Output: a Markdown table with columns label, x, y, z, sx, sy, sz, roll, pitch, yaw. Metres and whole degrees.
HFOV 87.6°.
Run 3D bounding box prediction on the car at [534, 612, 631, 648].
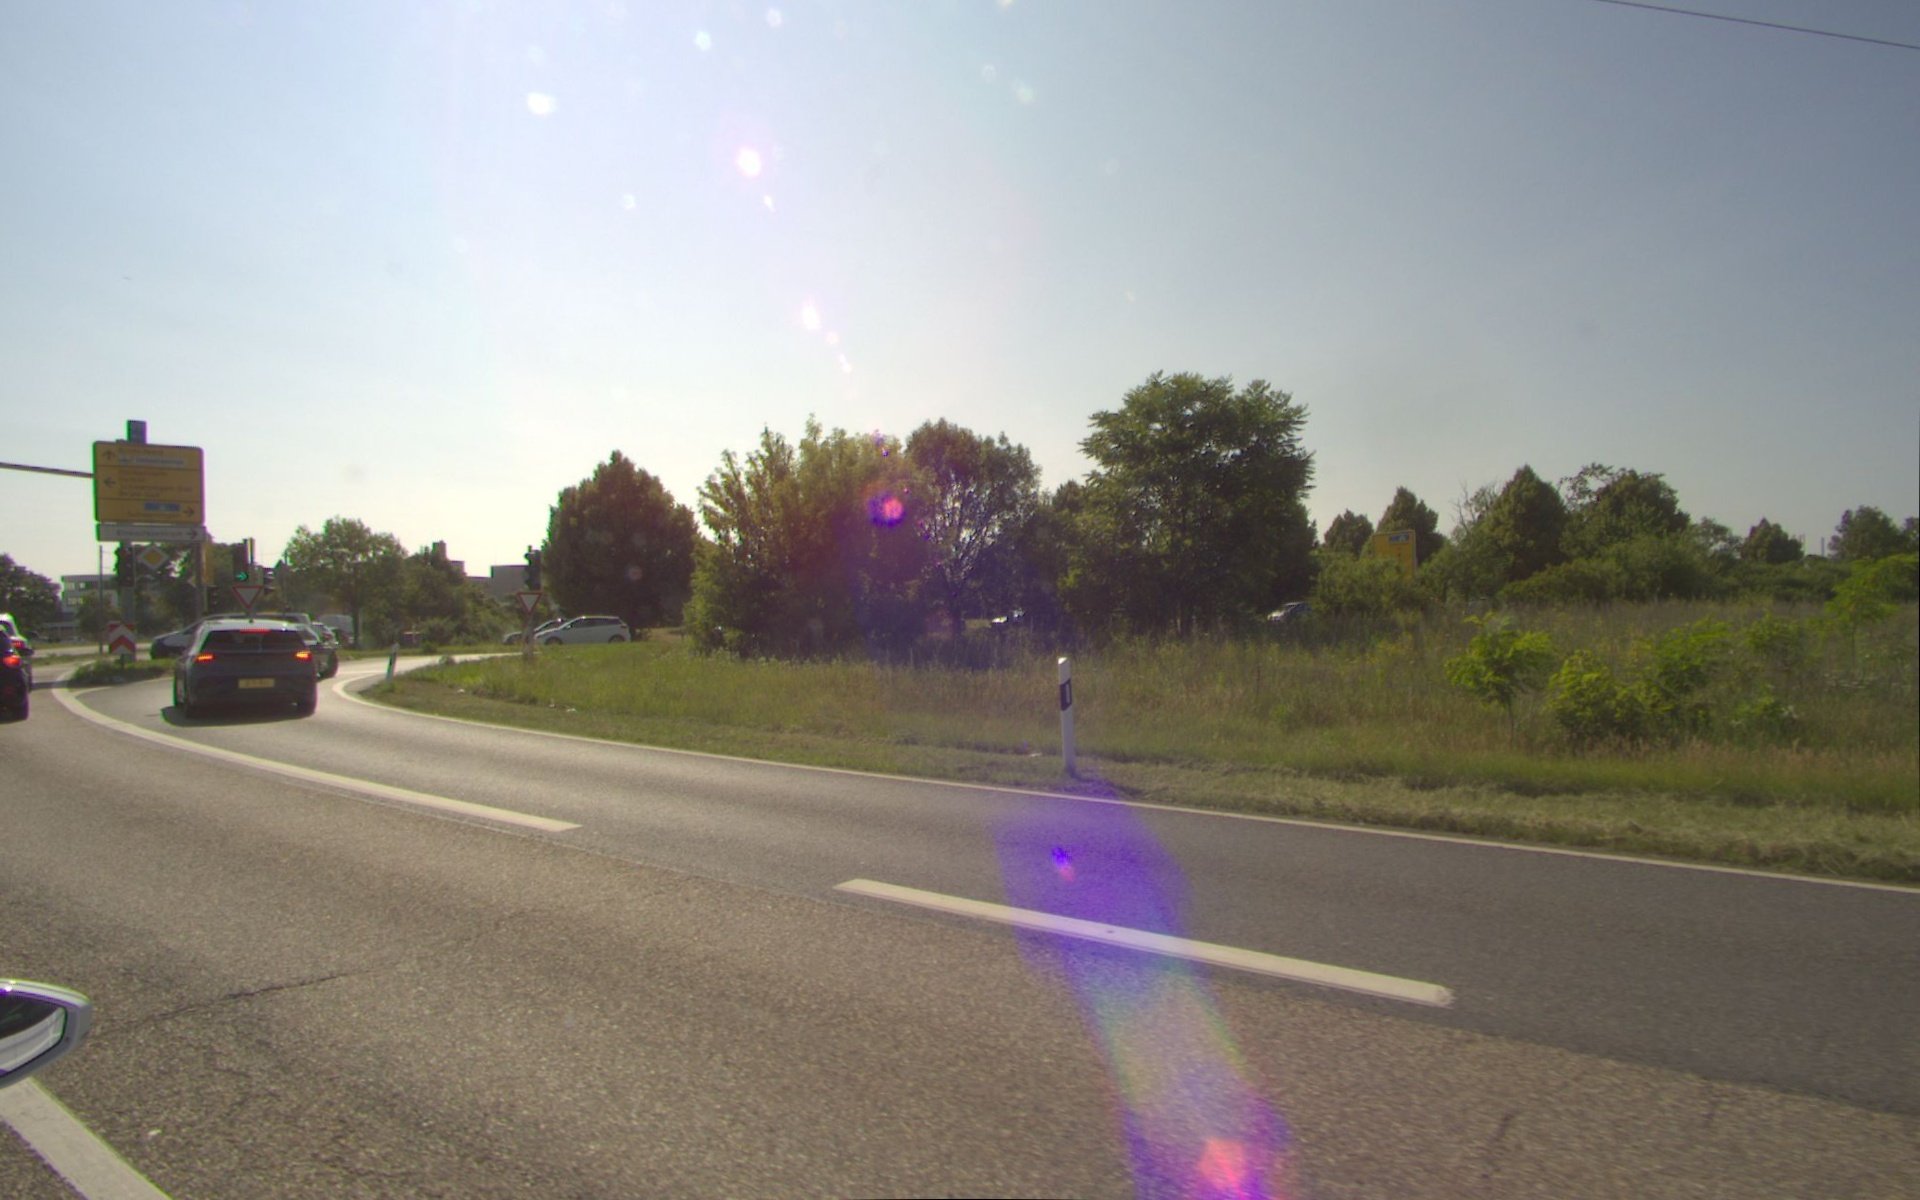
| label | x | y | z | sx | sy | sz | roll | pitch | yaw |
| --- | --- | --- | --- | --- | --- | --- | --- | --- | --- |
| car | -16.341 | 1.298 | 43.326 | 3.849 | 1.484 | 1.717 | 0 | -1 | -24 |

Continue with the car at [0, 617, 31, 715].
| label | x | y | z | sx | sy | sz | roll | pitch | yaw |
| --- | --- | --- | --- | --- | --- | --- | --- | --- | --- |
| car | -15.833 | 1.011 | 15.822 | 1.623 | 1.467 | 3.262 | 1 | -2 | -44 |

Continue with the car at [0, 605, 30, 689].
| label | x | y | z | sx | sy | sz | roll | pitch | yaw |
| --- | --- | --- | --- | --- | --- | --- | --- | --- | --- |
| car | -20.988 | 0.981 | 21.350 | 1.623 | 1.698 | 3.713 | 1 | -2 | -44 |

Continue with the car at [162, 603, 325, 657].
| label | x | y | z | sx | sy | sz | roll | pitch | yaw |
| --- | --- | --- | --- | --- | --- | --- | --- | --- | --- |
| car | -27.343 | 1.155 | 38.441 | 4.877 | 1.943 | 1.990 | 1 | -1 | -30 |

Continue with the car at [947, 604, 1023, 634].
| label | x | y | z | sx | sy | sz | roll | pitch | yaw |
| --- | --- | --- | --- | --- | --- | --- | --- | --- | --- |
| car | 1.378 | 1.031 | 55.383 | 3.819 | 1.539 | 1.801 | -1 | 0 | -25 |

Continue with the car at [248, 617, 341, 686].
| label | x | y | z | sx | sy | sz | roll | pitch | yaw |
| --- | --- | --- | --- | --- | --- | --- | --- | --- | --- |
| car | -15.510 | 1.132 | 23.496 | 1.623 | 1.404 | 3.977 | -1 | 0 | -31 |

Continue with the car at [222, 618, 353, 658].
| label | x | y | z | sx | sy | sz | roll | pitch | yaw |
| --- | --- | --- | --- | --- | --- | --- | --- | --- | --- |
| car | -27.861 | 1.552 | 41.637 | 4.267 | 1.539 | 1.801 | -1 | 0 | -26 |

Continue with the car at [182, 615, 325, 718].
| label | x | y | z | sx | sy | sz | roll | pitch | yaw |
| --- | --- | --- | --- | --- | --- | --- | --- | --- | --- |
| car | -12.322 | 1.039 | 17.363 | 1.758 | 1.537 | 4.065 | 1 | 0 | -39 |

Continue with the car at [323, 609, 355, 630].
| label | x | y | z | sx | sy | sz | roll | pitch | yaw |
| --- | --- | --- | --- | --- | --- | --- | --- | --- | --- |
| car | -64.668 | 2.068 | 104.383 | 1.904 | 2.164 | 4.630 | 1 | -2 | -21 |
